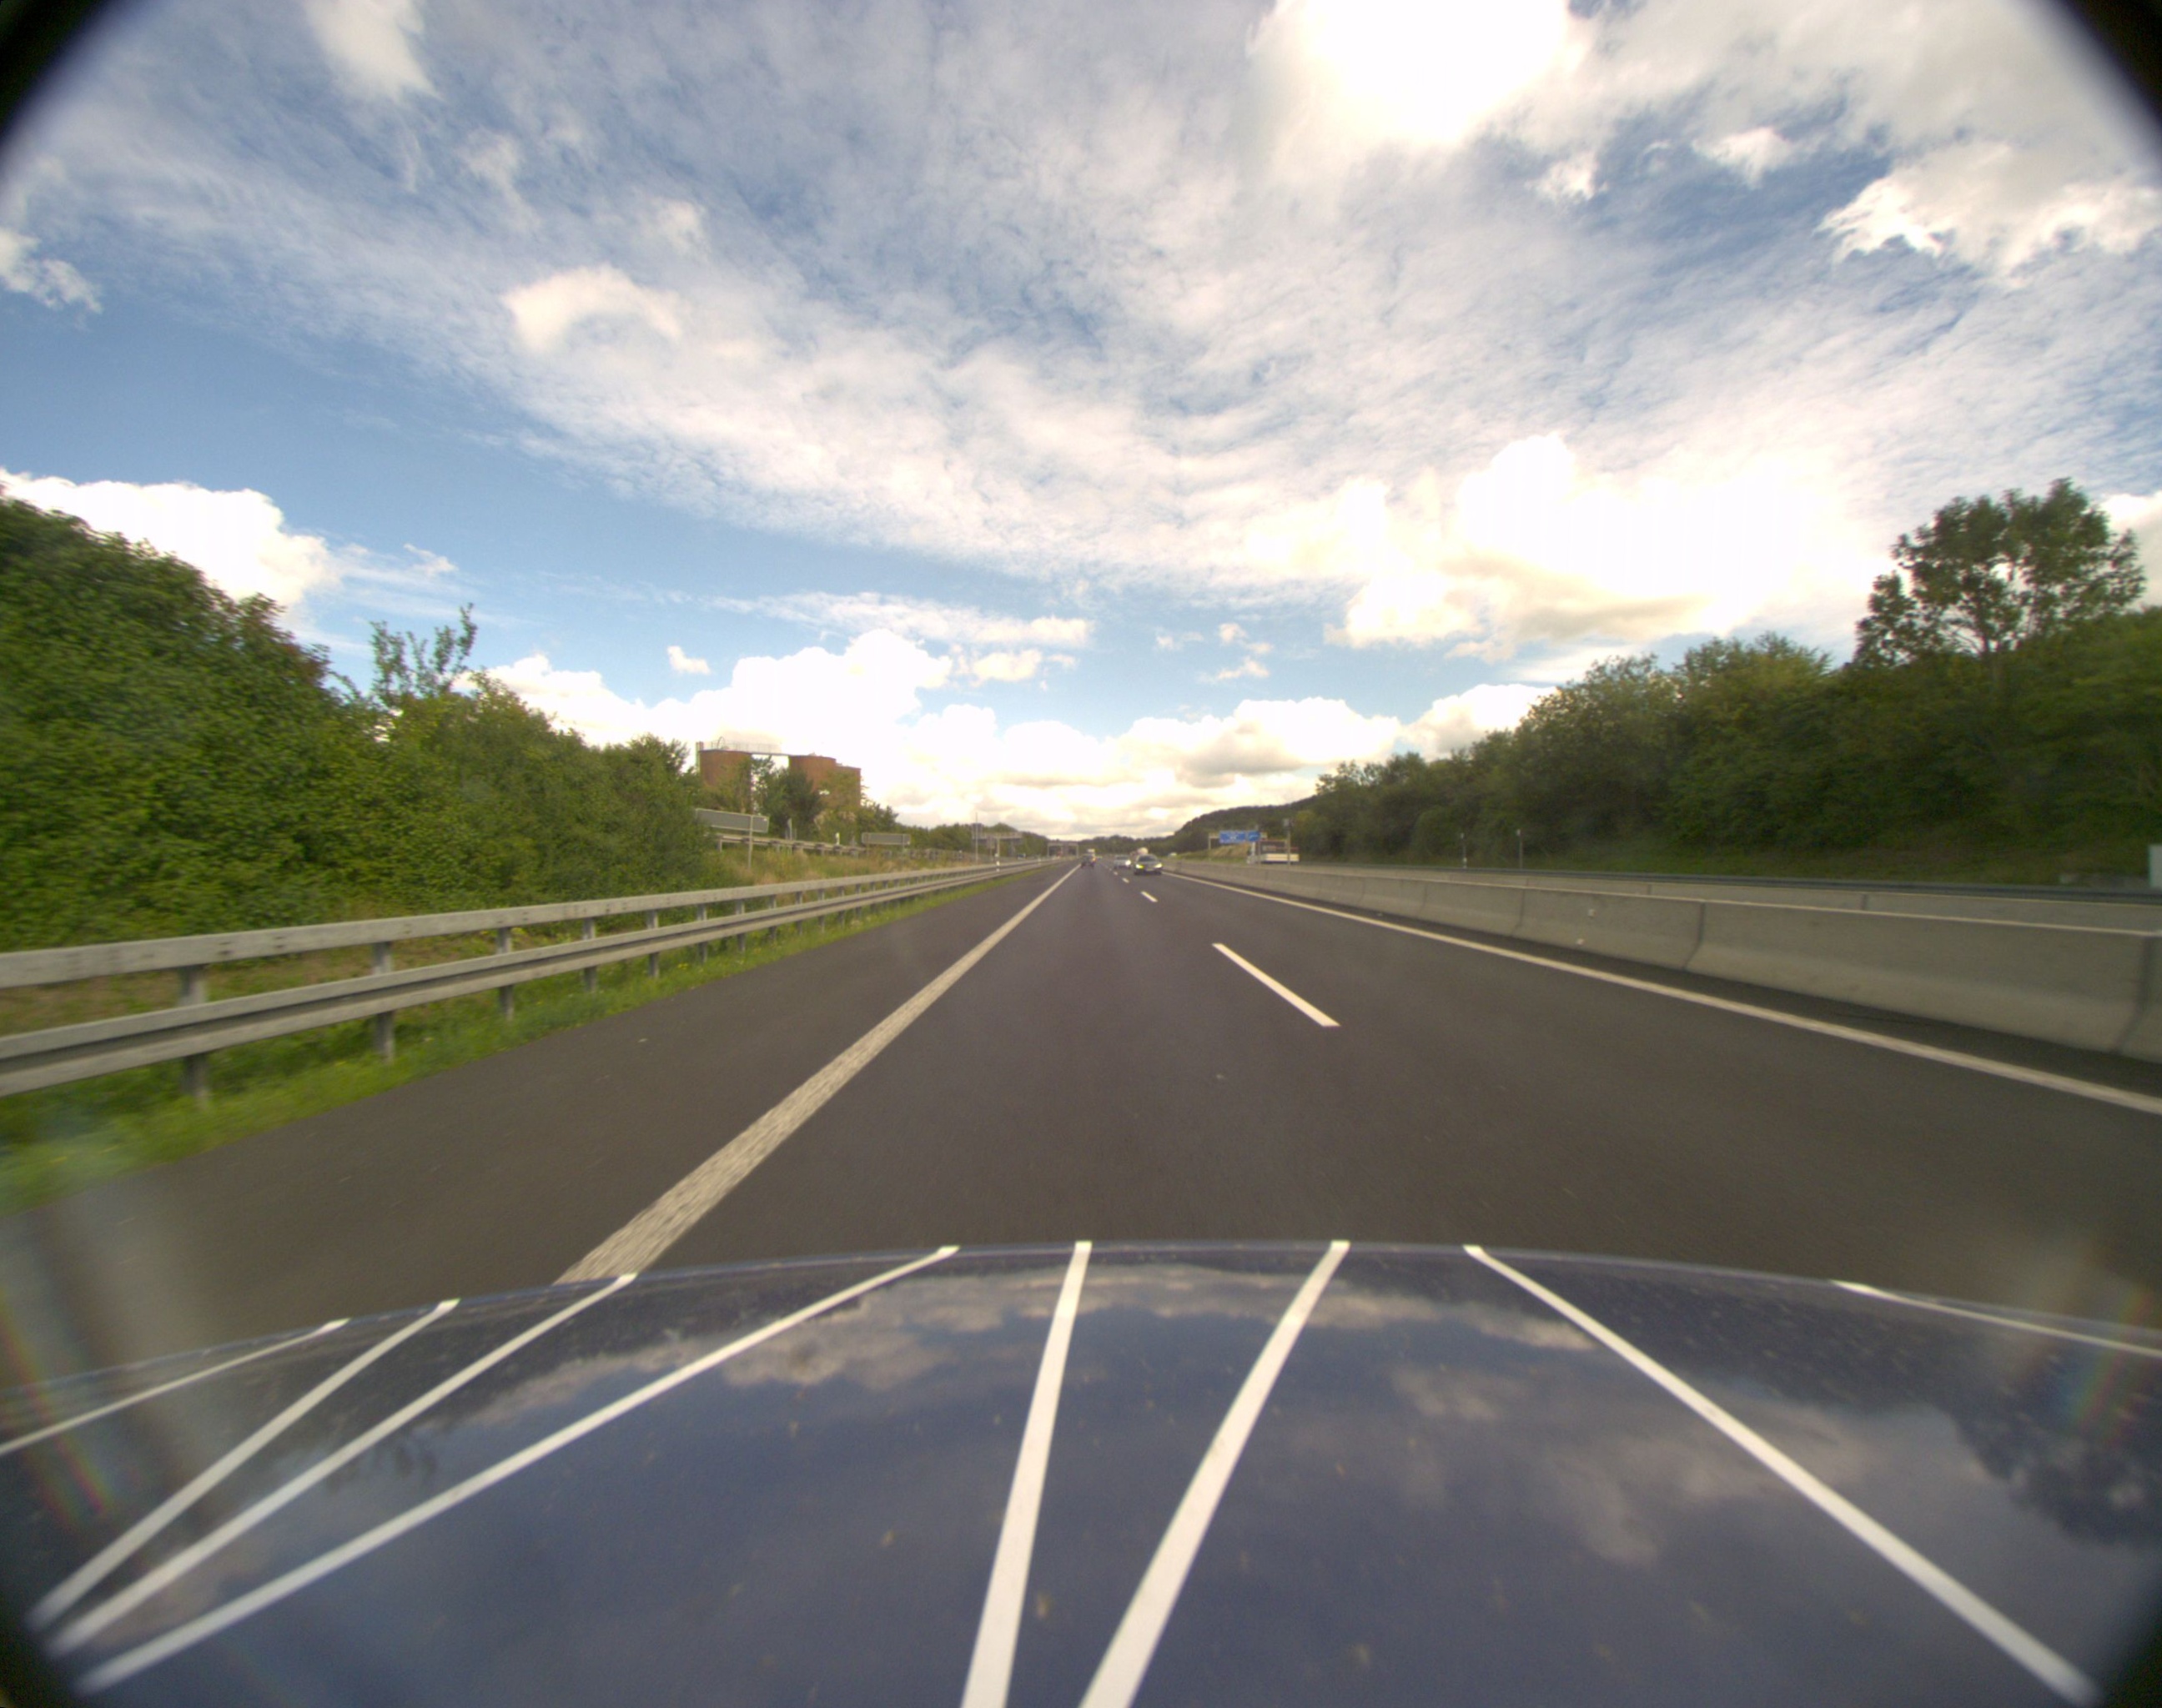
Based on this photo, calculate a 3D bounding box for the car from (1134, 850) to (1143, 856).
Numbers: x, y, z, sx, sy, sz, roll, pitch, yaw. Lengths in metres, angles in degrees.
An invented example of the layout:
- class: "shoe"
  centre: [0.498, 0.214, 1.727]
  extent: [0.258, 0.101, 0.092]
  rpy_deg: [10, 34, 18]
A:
- class: "car"
  centre: [14.981, -0.273, 197.650]
  extent: [1.998, 1.707, 4.000]
  rpy_deg: [0, 1, 1]

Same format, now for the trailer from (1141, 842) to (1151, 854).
- class: "trailer"
  centre: [20.870, -1.878, 244.692]
  extent: [2.720, 3.864, 11.161]
  rpy_deg: [0, 1, 2]

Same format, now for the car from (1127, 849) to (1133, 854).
- class: "car"
  centre: [16.276, -0.849, 253.235]
  extent: [1.812, 1.821, 4.396]
  rpy_deg: [0, 1, 2]

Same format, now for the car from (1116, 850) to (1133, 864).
- class: "car"
  centre: [4.648, 0.276, 81.898]
  extent: [1.724, 1.406, 3.939]
  rpy_deg: [-1, 0, 3]

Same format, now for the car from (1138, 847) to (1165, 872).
- class: "car"
  centre: [5.119, 0.397, 55.508]
  extent: [1.724, 1.722, 3.939]
  rpy_deg: [-1, 0, 3]

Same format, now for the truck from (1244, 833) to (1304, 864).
- class: "truck"
  centre: [13.103, -0.364, 52.185]
  extent: [2.382, 2.002, 7.436]
  rpy_deg: [0, 0, 1]

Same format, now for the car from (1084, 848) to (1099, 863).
- class: "car"
  centre: [1.278, 0.146, 93.596]
  extent: [1.670, 1.722, 4.207]
  rpy_deg: [-1, 0, 3]
